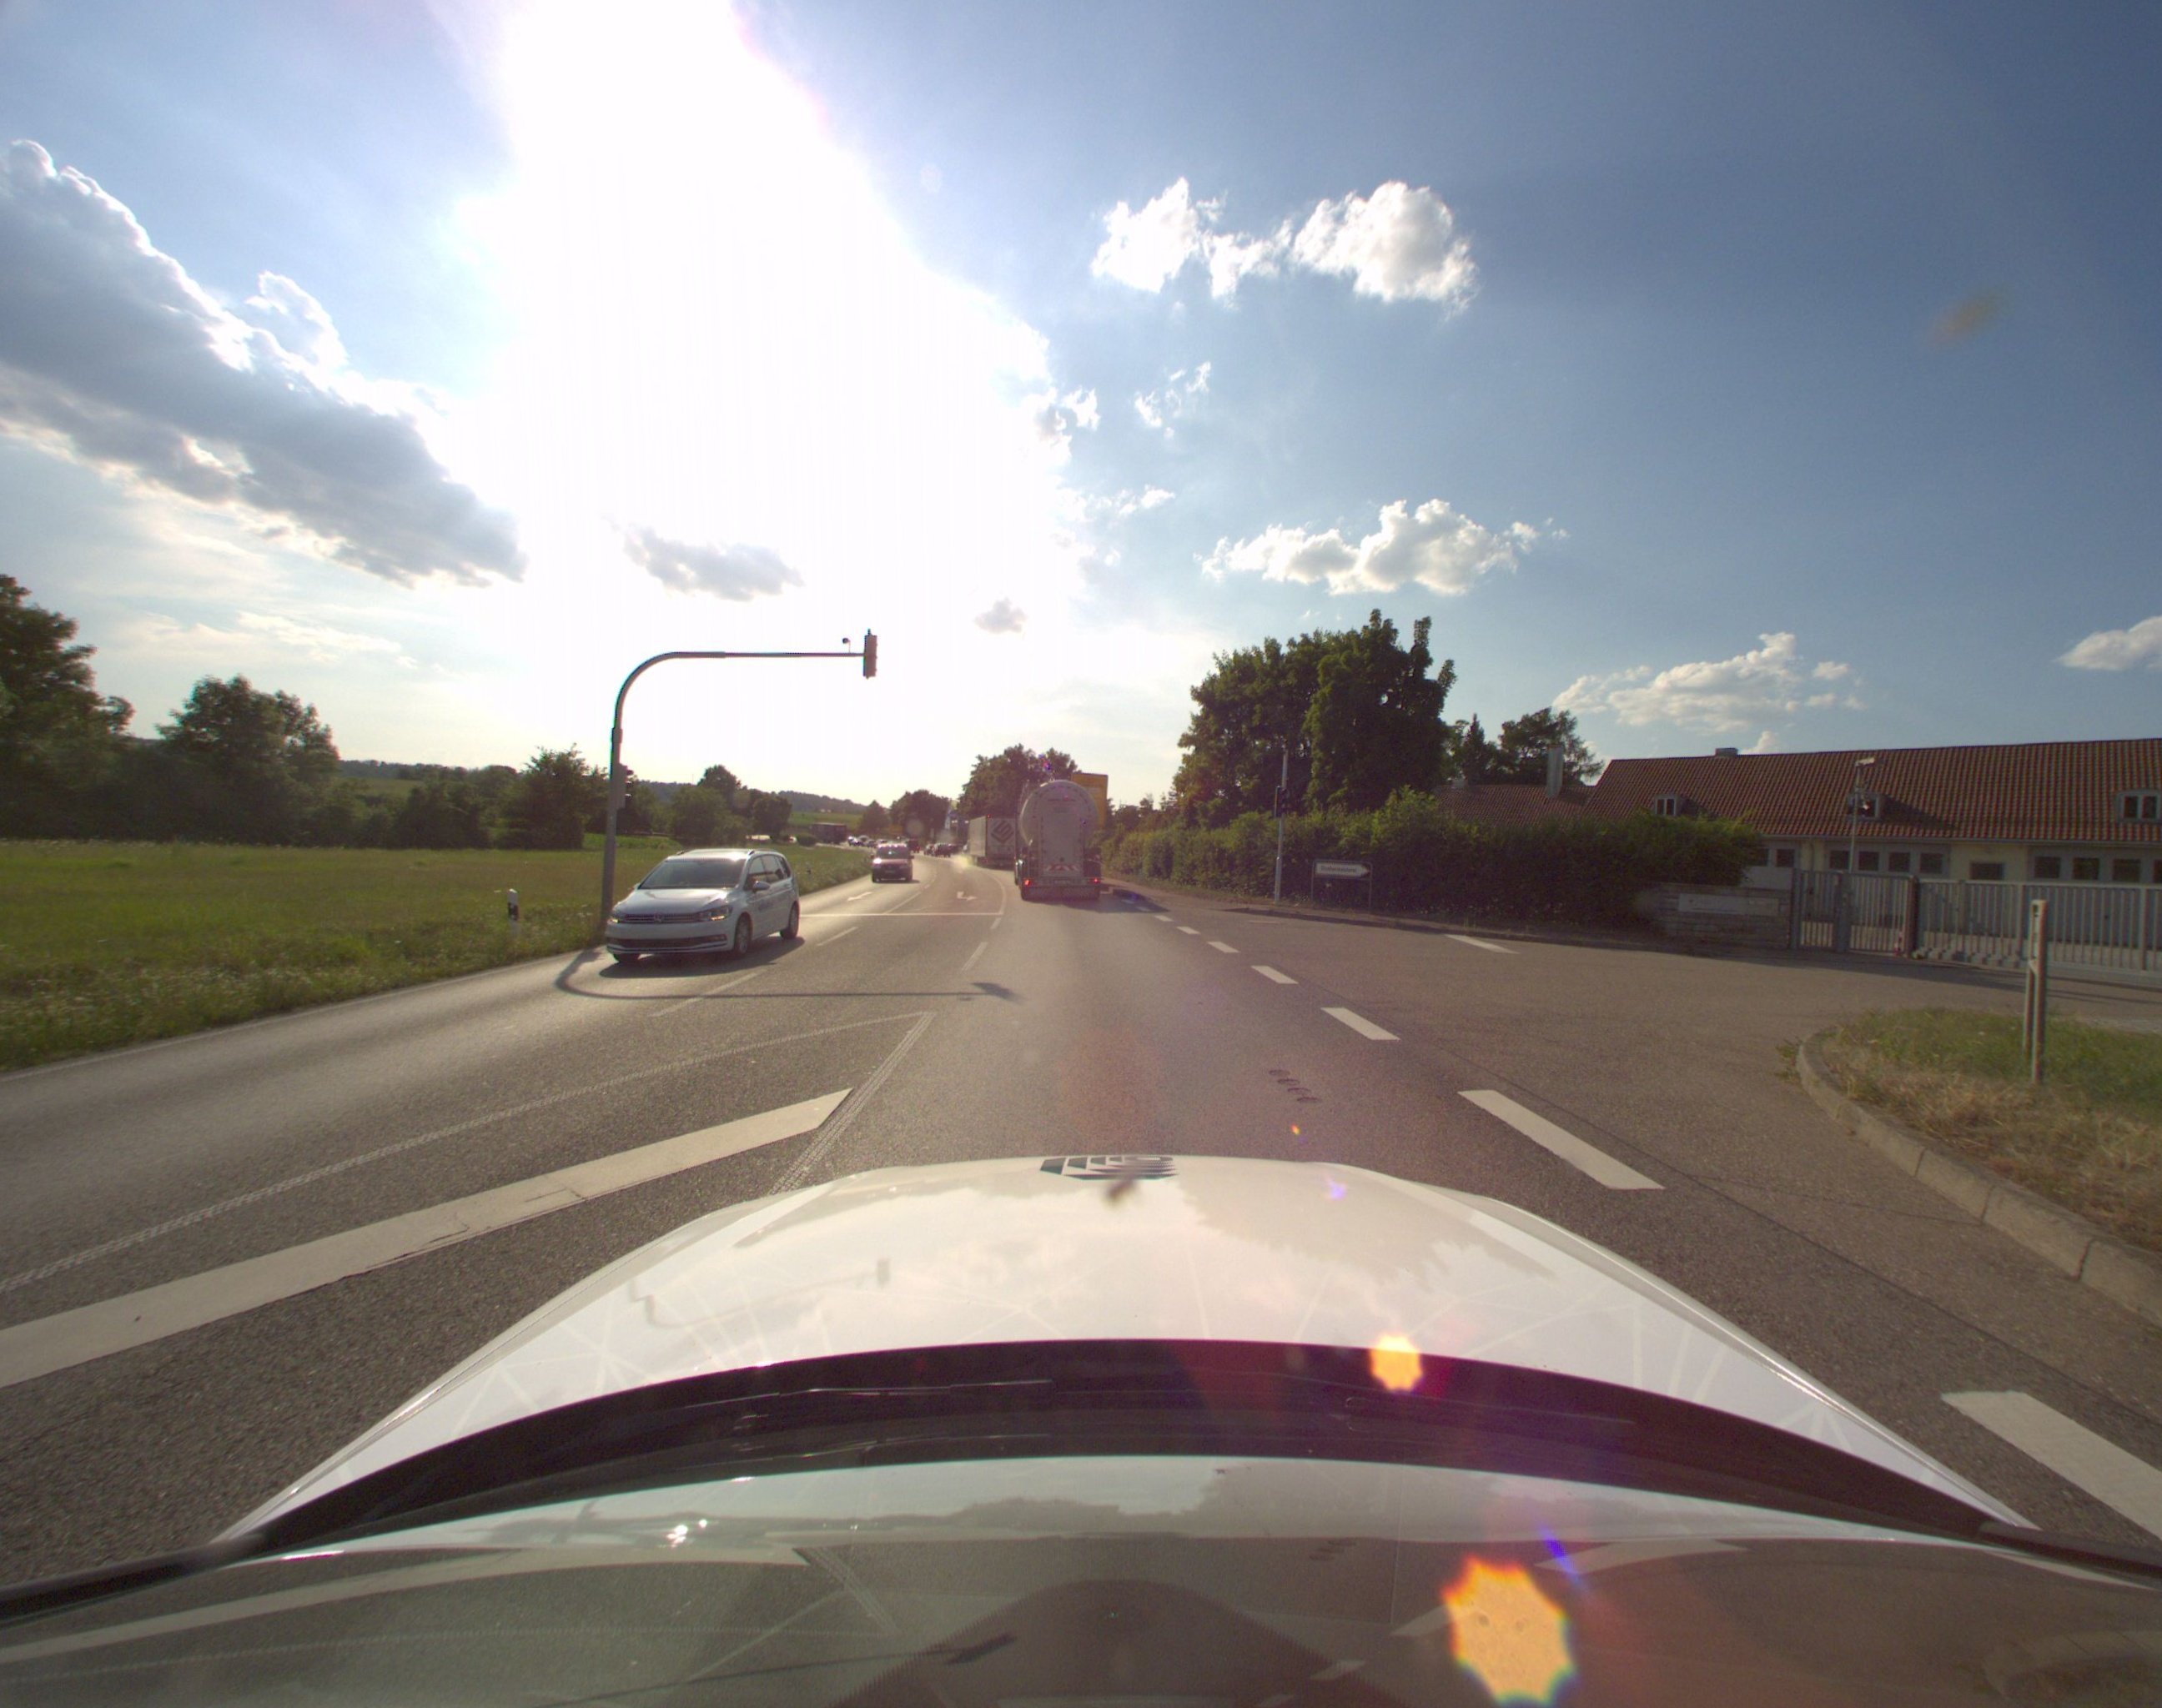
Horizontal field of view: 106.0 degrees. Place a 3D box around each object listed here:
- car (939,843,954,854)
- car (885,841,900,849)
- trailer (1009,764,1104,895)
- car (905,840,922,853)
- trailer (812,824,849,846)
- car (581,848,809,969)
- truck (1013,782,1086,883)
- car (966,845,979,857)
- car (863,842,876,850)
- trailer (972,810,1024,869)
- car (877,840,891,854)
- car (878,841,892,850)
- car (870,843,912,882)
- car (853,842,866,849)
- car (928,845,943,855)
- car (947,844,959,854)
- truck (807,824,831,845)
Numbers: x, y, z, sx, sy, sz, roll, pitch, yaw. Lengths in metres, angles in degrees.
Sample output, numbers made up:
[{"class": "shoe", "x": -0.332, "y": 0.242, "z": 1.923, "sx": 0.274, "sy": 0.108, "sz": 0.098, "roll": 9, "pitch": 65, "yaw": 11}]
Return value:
[{"class": "car", "x": -17.001, "y": -0.657, "z": 102.899, "sx": 1.583, "sy": 1.340, "sz": 3.409, "roll": 2, "pitch": 1, "yaw": -15}, {"class": "car", "x": -31.826, "y": -1.546, "z": 137.337, "sx": 1.589, "sy": 1.340, "sz": 3.394, "roll": 1, "pitch": 1, "yaw": -29}, {"class": "trailer", "x": -1.095, "y": -0.806, "z": 30.100, "sx": 2.904, "sy": 4.006, "sz": 9.916, "roll": 0, "pitch": 1, "yaw": -4}, {"class": "car", "x": -25.584, "y": -1.120, "z": 124.125, "sx": 1.869, "sy": 2.013, "sz": 3.692, "roll": 0, "pitch": 1, "yaw": -22}, {"class": "trailer", "x": -52.866, "y": -4.104, "z": 171.715, "sx": 3.400, "sy": 4.350, "sz": 14.143, "roll": 1, "pitch": 1, "yaw": -34}, {"class": "car", "x": -5.974, "y": 0.729, "z": 13.268, "sx": 1.877, "sy": 1.586, "sz": 4.324, "roll": -1, "pitch": 1, "yaw": -4}, {"class": "truck", "x": -1.384, "y": -0.857, "z": 34.367, "sx": 2.904, "sy": 4.006, "sz": 4.054, "roll": 0, "pitch": 0, "yaw": -4}, {"class": "car", "x": -13.812, "y": -0.410, "z": 103.316, "sx": 1.421, "sy": 1.508, "sz": 3.413, "roll": 2, "pitch": 0, "yaw": -11}, {"class": "car", "x": -39.028, "y": -1.462, "z": 150.242, "sx": 1.589, "sy": 1.340, "sz": 3.394, "roll": 1, "pitch": 1, "yaw": -29}, {"class": "trailer", "x": -7.091, "y": -1.156, "z": 67.804, "sx": 2.956, "sy": 4.315, "sz": 14.122, "roll": 2, "pitch": 1, "yaw": -11}, {"class": "car", "x": -25.979, "y": -0.923, "z": 107.221, "sx": 1.589, "sy": 1.775, "sz": 3.977, "roll": -1, "pitch": 1, "yaw": -17}, {"class": "car", "x": -34.482, "y": -1.500, "z": 143.319, "sx": 1.589, "sy": 1.340, "sz": 3.394, "roll": 1, "pitch": 1, "yaw": -29}, {"class": "car", "x": -9.189, "y": 0.365, "z": 39.594, "sx": 1.882, "sy": 1.775, "sz": 4.304, "roll": -1, "pitch": 1, "yaw": -12}, {"class": "car", "x": -42.501, "y": -1.645, "z": 156.147, "sx": 1.780, "sy": 1.205, "sz": 3.394, "roll": 1, "pitch": 1, "yaw": -29}, {"class": "car", "x": -19.760, "y": -0.572, "z": 110.541, "sx": 1.584, "sy": 1.340, "sz": 3.406, "roll": 2, "pitch": 1, "yaw": -17}, {"class": "car", "x": -18.410, "y": -0.736, "z": 117.204, "sx": 1.675, "sy": 1.340, "sz": 3.413, "roll": 2, "pitch": 1, "yaw": -11}, {"class": "truck", "x": -57.497, "y": -4.290, "z": 178.521, "sx": 3.400, "sy": 4.350, "sz": 5.645, "roll": 1, "pitch": 0, "yaw": -34}]
